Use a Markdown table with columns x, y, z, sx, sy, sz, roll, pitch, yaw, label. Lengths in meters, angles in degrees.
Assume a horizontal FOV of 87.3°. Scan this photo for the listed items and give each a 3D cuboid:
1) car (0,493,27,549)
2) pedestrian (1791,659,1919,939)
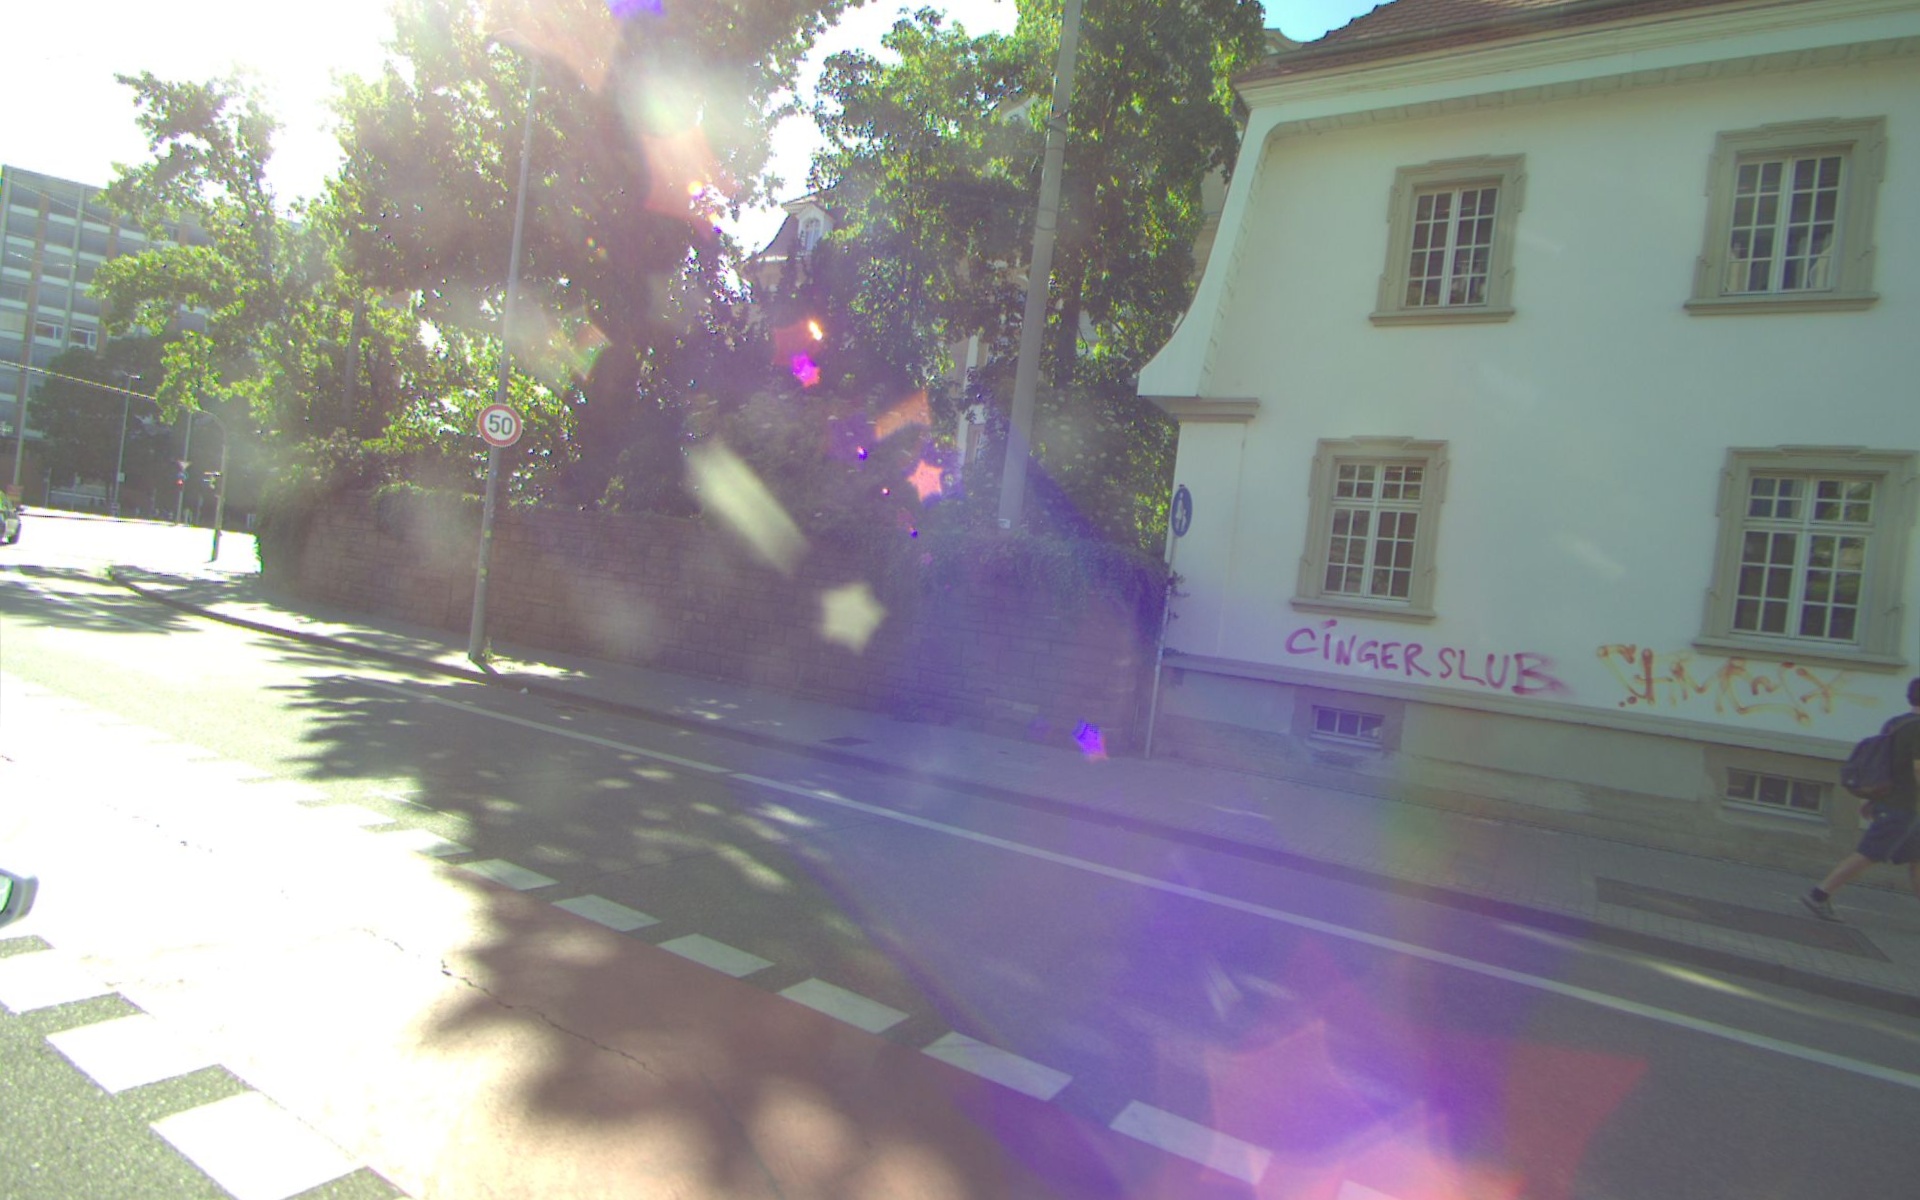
| x | y | z | sx | sy | sz | roll | pitch | yaw | label |
| --- | --- | --- | --- | --- | --- | --- | --- | --- | --- |
| -27.860 | -2.363 | 28.302 | 1.780 | 1.528 | 3.676 | 9 | -2 | -36 | car |
| 7.070 | 1.470 | 7.472 | 1.116 | 1.929 | 0.638 | 7 | 2 | 32 | pedestrian |
